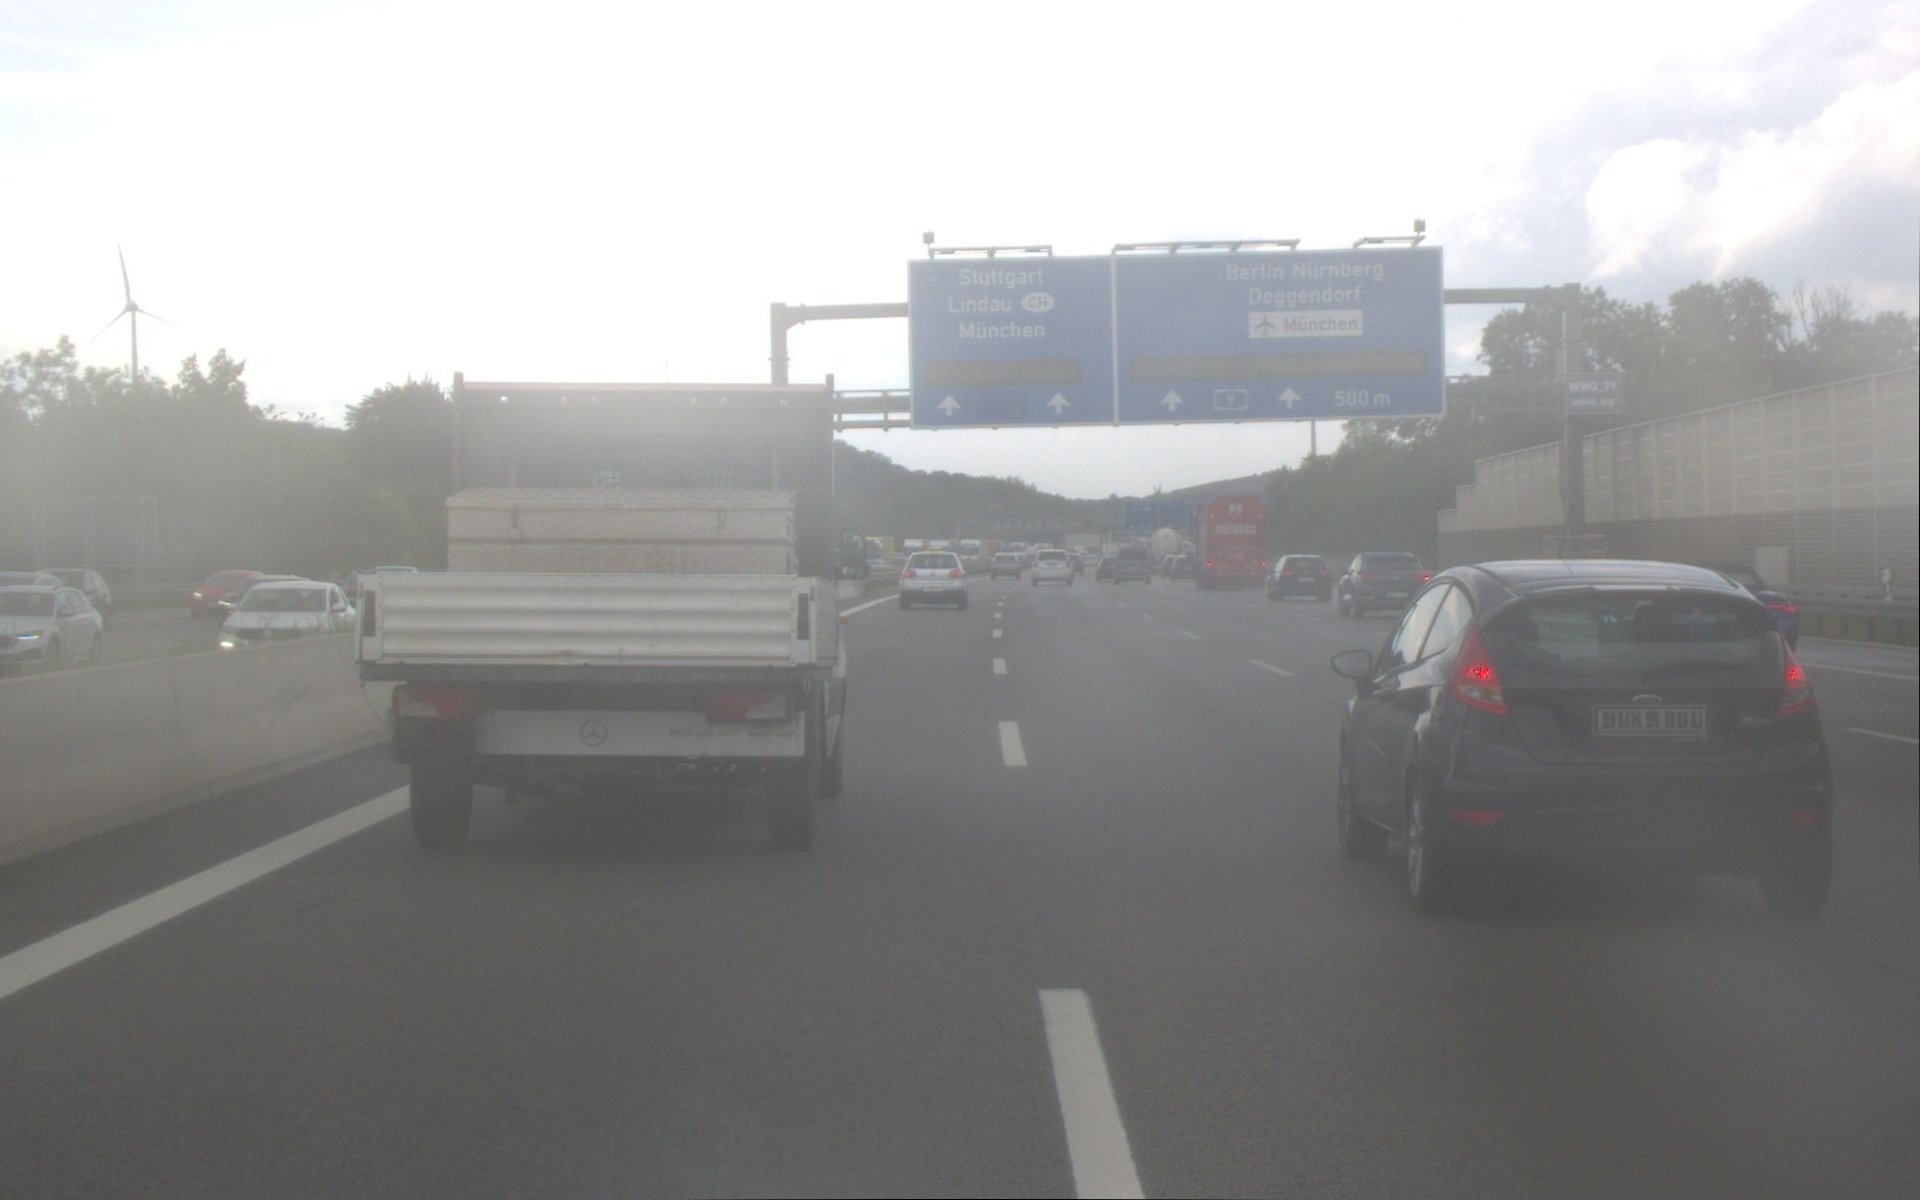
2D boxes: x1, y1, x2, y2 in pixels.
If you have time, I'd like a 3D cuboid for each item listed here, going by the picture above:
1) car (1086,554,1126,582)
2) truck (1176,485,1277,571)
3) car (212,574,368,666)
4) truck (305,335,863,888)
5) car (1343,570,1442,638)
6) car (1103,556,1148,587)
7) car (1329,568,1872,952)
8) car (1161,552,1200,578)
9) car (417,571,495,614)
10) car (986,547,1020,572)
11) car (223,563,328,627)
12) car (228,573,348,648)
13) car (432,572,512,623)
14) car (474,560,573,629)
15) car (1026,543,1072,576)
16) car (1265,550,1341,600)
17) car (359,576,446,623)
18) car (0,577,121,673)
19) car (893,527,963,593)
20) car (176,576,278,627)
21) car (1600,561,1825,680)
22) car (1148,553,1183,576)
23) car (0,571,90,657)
[{"bbox_3d":[8.513,-1.866,200.651,1.968,1.555,4.433,-1,1,-2],"label":"car"},{"bbox_3d":[11.735,-3.251,152.841,3.152,3.589,12.701,1,1,-1],"label":"truck"},{"bbox_3d":[-11.231,0.302,57.886,1.723,1.423,4.649,1,1,0],"label":"car"},{"bbox_3d":[-1.771,-0.048,18.816,2.307,2.431,7.149,1,2,0],"label":"truck"},{"bbox_3d":[10.095,0.071,80.555,1.882,1.537,4.433,0,1,2],"label":"car"},{"bbox_3d":[8.567,-1.477,178.145,1.968,1.555,4.433,0,1,-1],"label":"car"},{"bbox_3d":[2.653,0.584,15.163,1.717,1.412,4.278,0,1,2],"label":"car"},{"bbox_3d":[13.389,-2.138,208.592,1.968,1.555,4.433,0,1,-1],"label":"car"},{"bbox_3d":[-17.720,-0.280,121.072,1.982,1.489,4.913,0,1,1],"label":"car"},{"bbox_3d":[2.695,-2.550,215.280,1.968,1.555,4.433,0,1,-1],"label":"car"},{"bbox_3d":[-18.201,-0.153,91.573,1.723,1.597,4.913,1,1,1],"label":"car"},{"bbox_3d":[-15.173,0.217,77.877,1.723,1.597,4.644,1,1,1],"label":"car"},{"bbox_3d":[-14.847,-0.097,104.812,1.723,1.489,4.913,1,1,0],"label":"car"},{"bbox_3d":[-10.758,-0.157,85.014,1.723,1.597,4.913,1,1,1],"label":"car"},{"bbox_3d":[4.301,-1.971,166.688,1.968,1.555,4.433,0,1,-1],"label":"car"},{"bbox_3d":[10.990,-0.818,110.446,1.882,1.555,4.433,0,1,-1],"label":"car"},{"bbox_3d":[-18.194,-0.029,112.327,1.982,1.489,4.913,0,1,1],"label":"car"},{"bbox_3d":[-15.375,0.386,56.870,1.723,1.465,4.849,1,1,1],"label":"car"},{"bbox_3d":[-0.801,-1.060,89.285,1.717,1.618,4.279,0,2,1],"label":"car"},{"bbox_3d":[-22.342,0.016,104.968,1.982,1.489,4.913,0,1,1],"label":"car"},{"bbox_3d":[9.423,0.226,43.377,1.950,1.413,4.232,0,1,1],"label":"car"},{"bbox_3d":[13.879,-2.397,232.472,1.968,1.555,4.433,0,1,-1],"label":"car"},{"bbox_3d":[-18.802,0.252,68.434,1.723,1.597,4.519,1,1,1],"label":"car"}]
